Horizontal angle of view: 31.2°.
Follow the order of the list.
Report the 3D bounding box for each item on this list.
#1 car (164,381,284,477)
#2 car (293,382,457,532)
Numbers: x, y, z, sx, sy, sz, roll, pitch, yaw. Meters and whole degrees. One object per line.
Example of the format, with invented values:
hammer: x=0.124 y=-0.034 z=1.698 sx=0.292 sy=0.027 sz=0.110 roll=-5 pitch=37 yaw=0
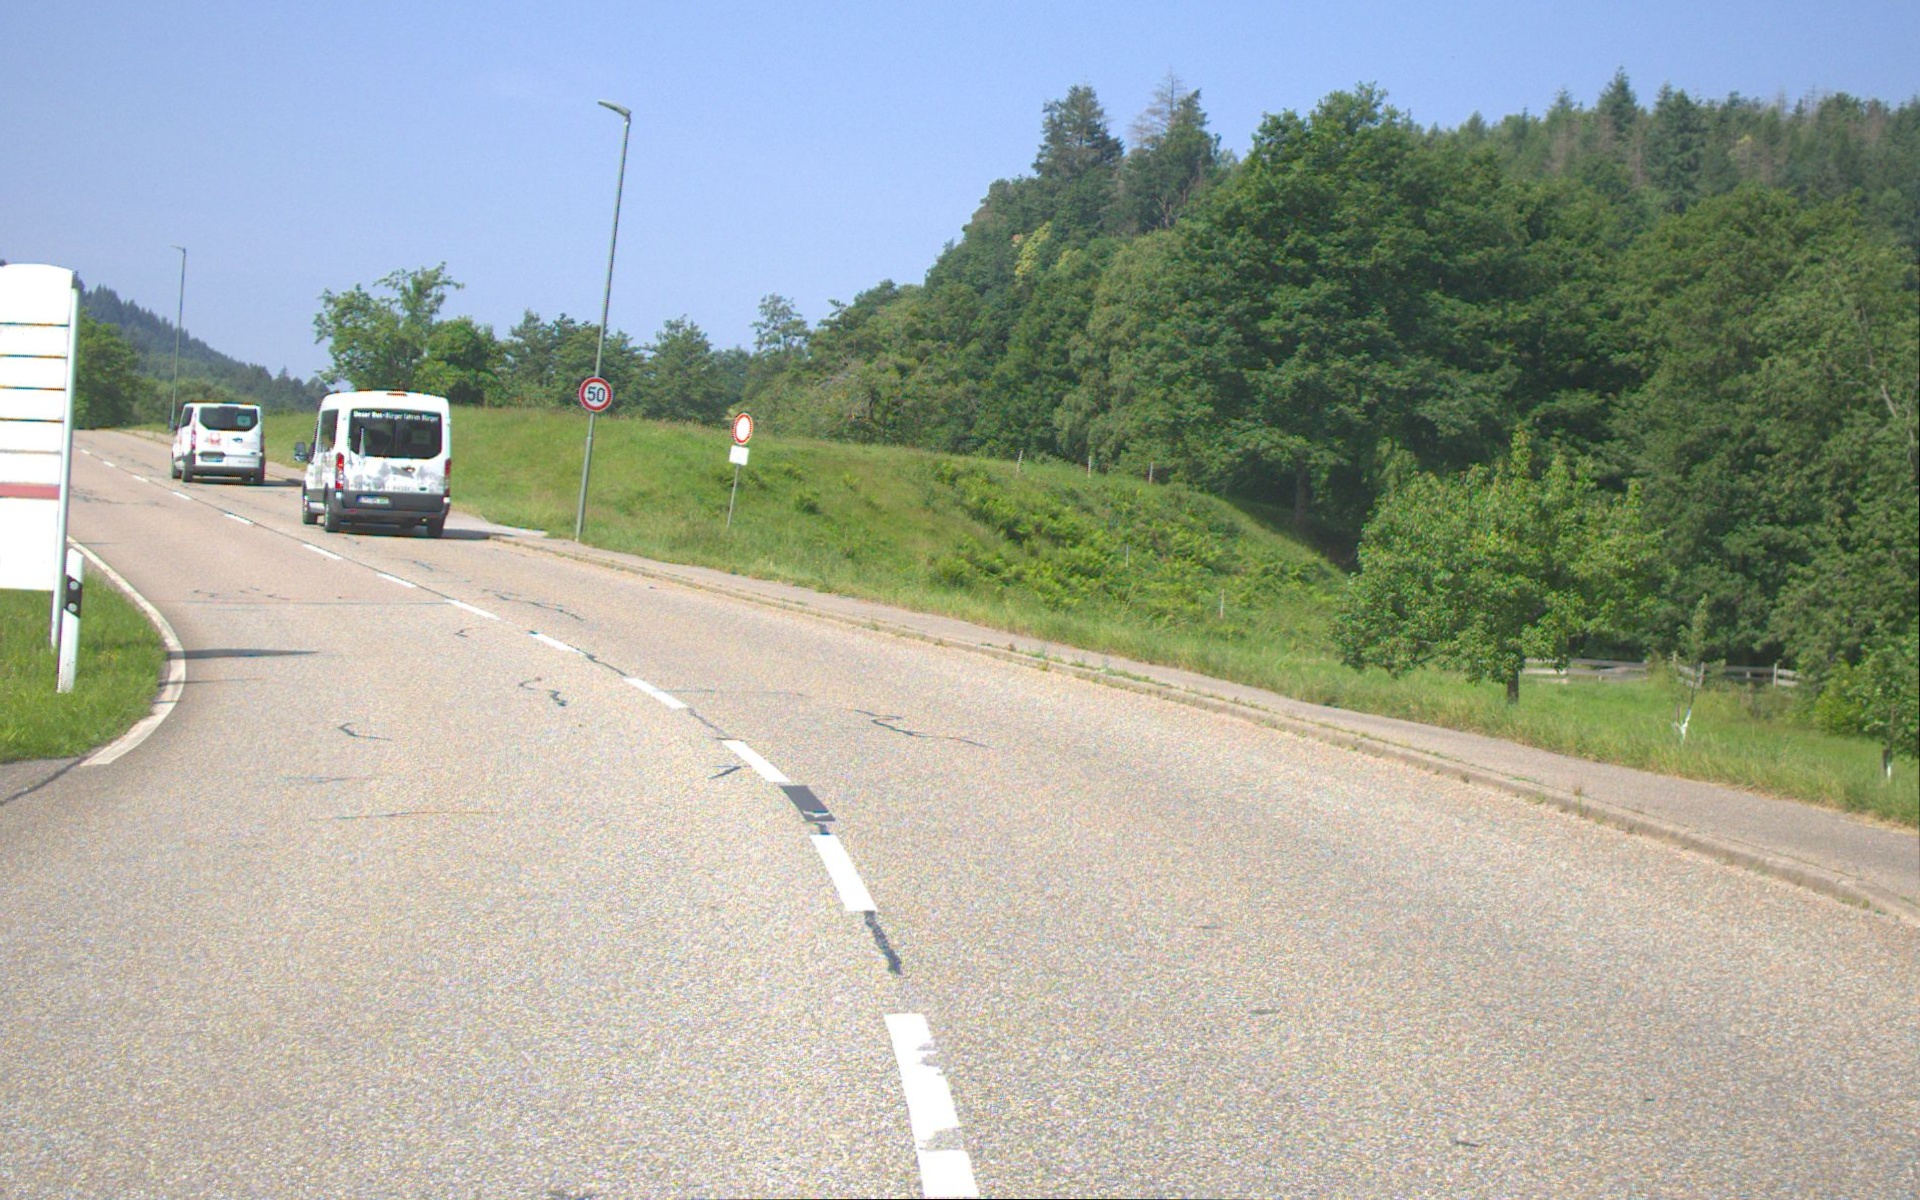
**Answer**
car: x=-18.389 y=-4.234 z=85.784 sx=2.222 sy=2.279 sz=4.986 roll=-1 pitch=2 yaw=-20
car: x=-10.320 y=-2.478 z=60.348 sx=2.222 sy=2.517 sz=4.986 roll=-1 pitch=2 yaw=-17
